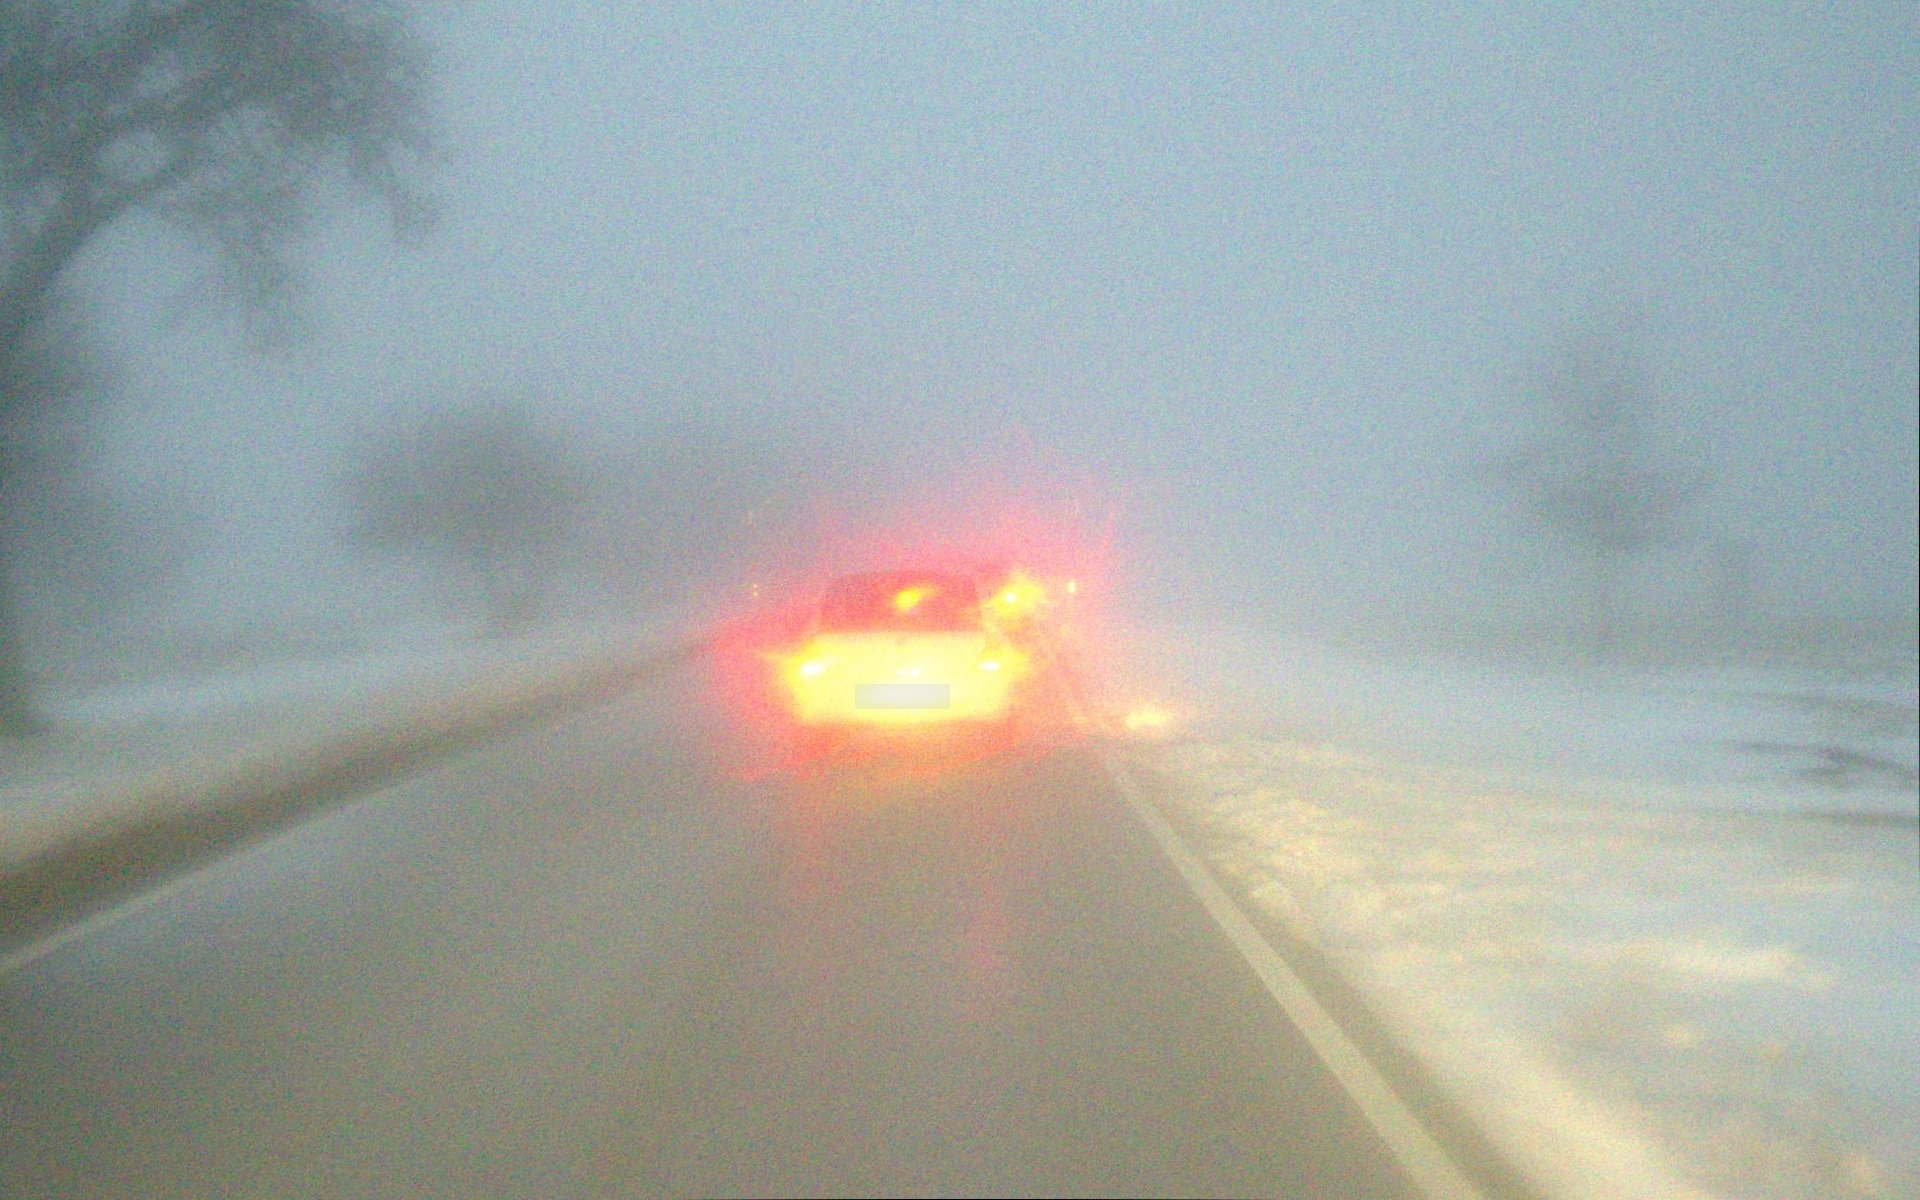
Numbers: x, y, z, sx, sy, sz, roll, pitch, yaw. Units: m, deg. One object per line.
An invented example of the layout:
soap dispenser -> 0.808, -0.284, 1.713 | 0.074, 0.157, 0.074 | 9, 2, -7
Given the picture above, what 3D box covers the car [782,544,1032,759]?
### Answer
car -> -0.452, 0.351, 26.108 | 1.707, 1.458, 4.000 | 2, 0, -2
